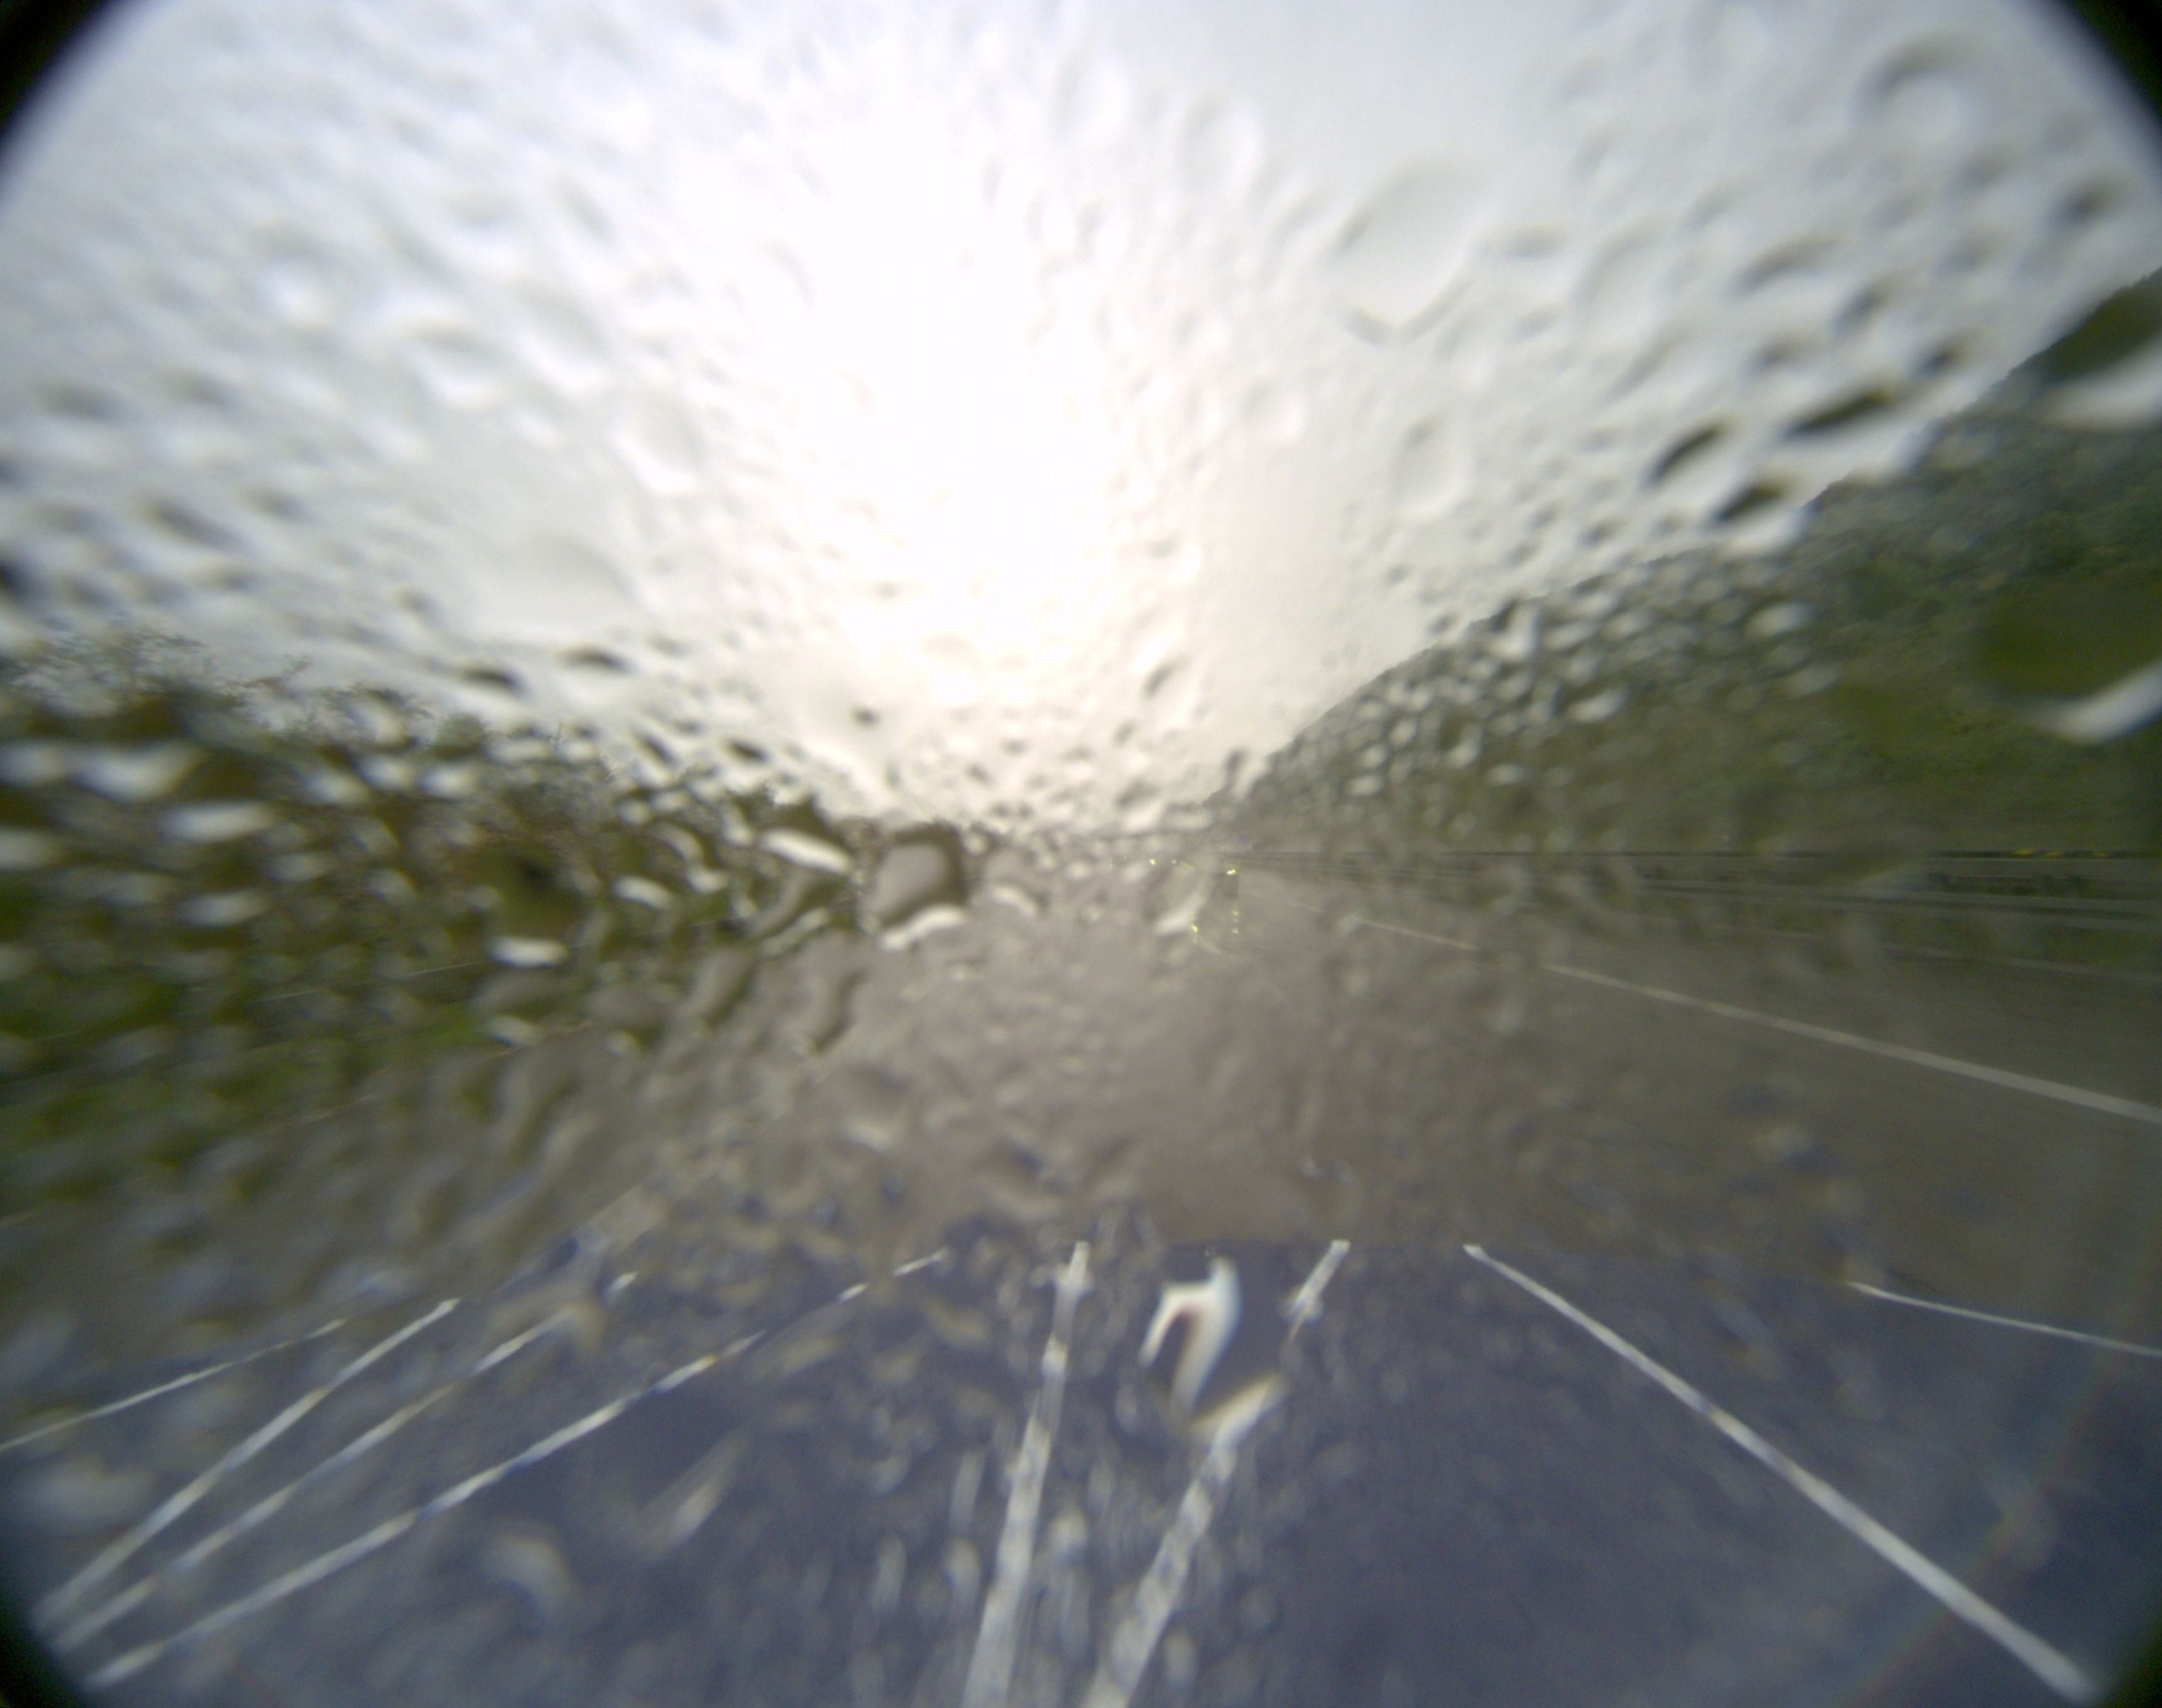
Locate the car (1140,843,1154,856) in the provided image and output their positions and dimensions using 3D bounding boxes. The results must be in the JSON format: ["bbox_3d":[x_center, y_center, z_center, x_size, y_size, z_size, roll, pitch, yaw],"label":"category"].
[{"bbox_3d":[10.841,-0.683,124.906,1.998,2.002,4.001,-2,1,4],"label":"car"}]

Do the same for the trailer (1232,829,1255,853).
[{"bbox_3d":[34.451,-2.766,161.757,2.742,4.758,14.046,-2,0,4],"label":"trailer"}]

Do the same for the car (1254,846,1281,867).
[{"bbox_3d":[19.168,0.256,78.229,1.798,2.002,4.000,-2,0,1],"label":"car"}]

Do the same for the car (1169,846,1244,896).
[{"bbox_3d":[4.567,0.566,28.320,1.998,1.673,4.908,-1,1,0],"label":"car"}]

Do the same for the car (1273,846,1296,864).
[{"bbox_3d":[24.111,0.090,90.282,1.794,2.002,4.001,-2,0,3],"label":"car"}]

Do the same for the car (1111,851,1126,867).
[{"bbox_3d":[5.349,0.698,108.680,1.835,2.002,3.938,-3,1,2],"label":"car"}]

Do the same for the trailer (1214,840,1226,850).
[{"bbox_3d":[45.576,-2.940,249.330,2.819,3.035,14.905,-2,0,6],"label":"trailer"}]

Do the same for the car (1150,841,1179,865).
[{"bbox_3d":[6.264,-0.073,57.091,1.814,1.692,3.749,-2,1,2],"label":"car"}]
